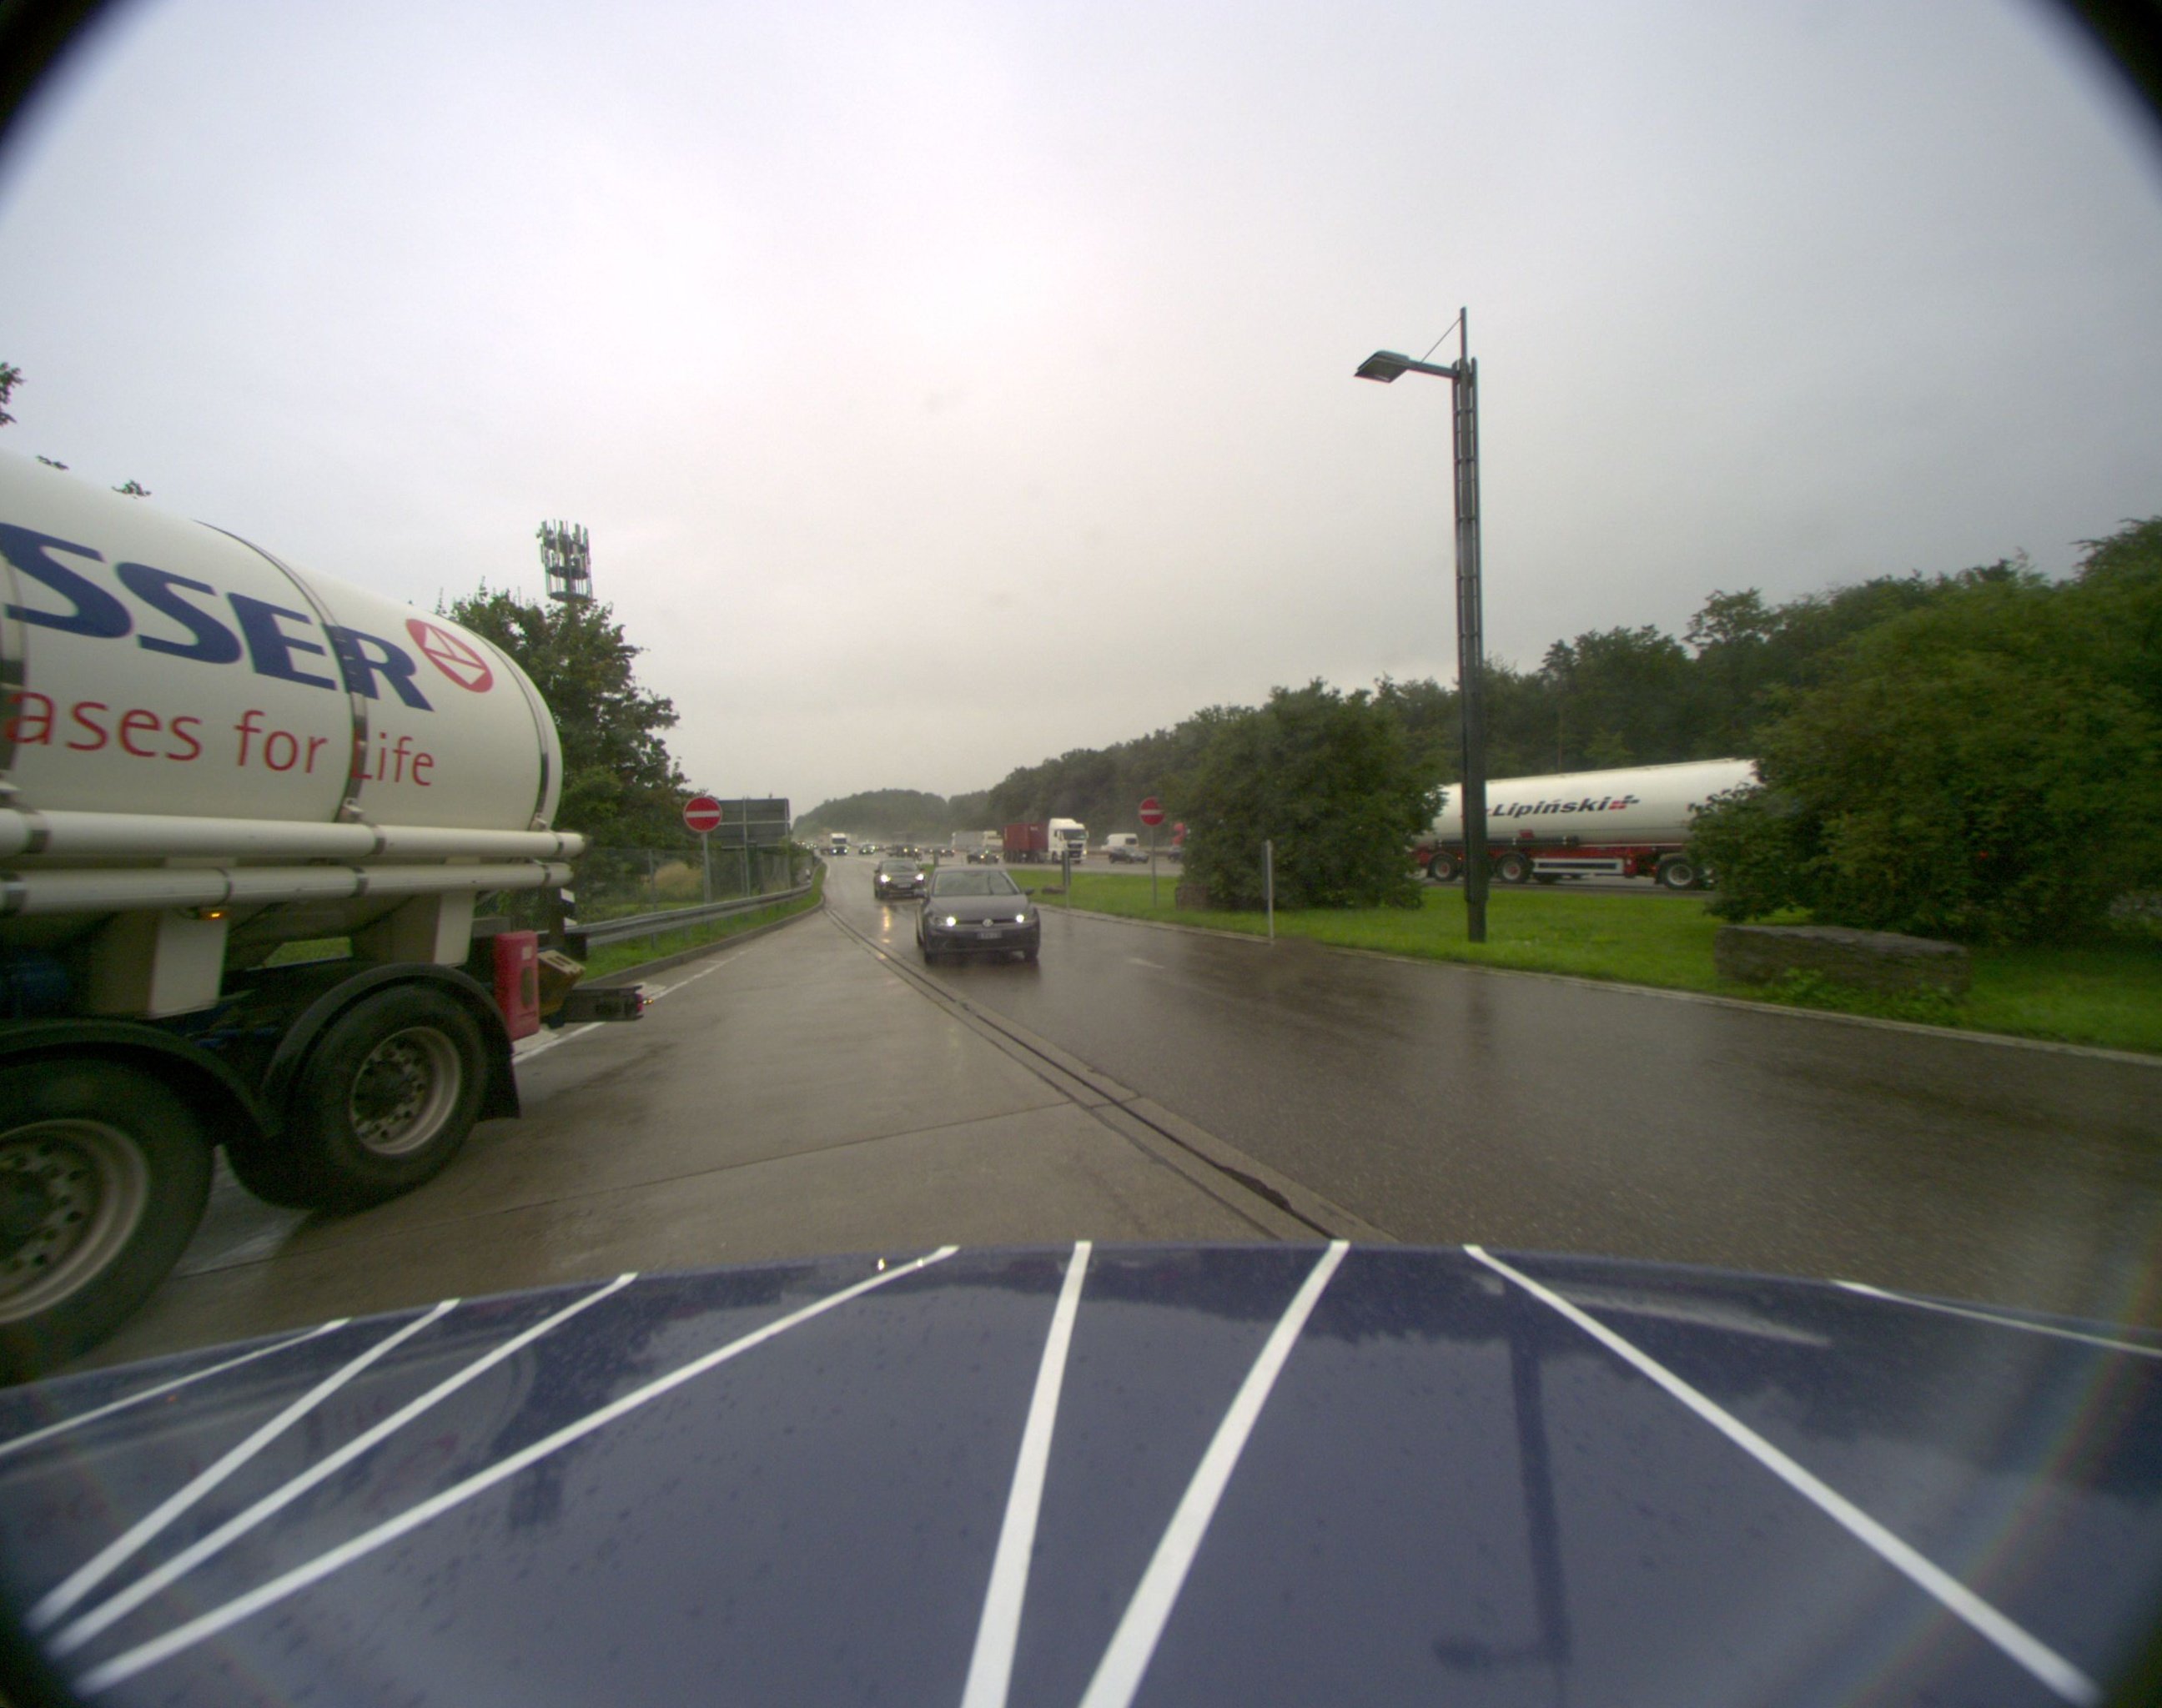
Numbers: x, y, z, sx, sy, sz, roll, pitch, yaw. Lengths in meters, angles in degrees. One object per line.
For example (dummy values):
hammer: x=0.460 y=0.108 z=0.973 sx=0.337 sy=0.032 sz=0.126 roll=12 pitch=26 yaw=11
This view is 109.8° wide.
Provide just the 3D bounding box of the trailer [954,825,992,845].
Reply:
trailer: x=-23.211 y=-3.958 z=162.178 sx=2.736 sy=3.519 sz=14.029 roll=-7 pitch=2 yaw=-29

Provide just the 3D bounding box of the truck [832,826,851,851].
truck: x=-42.630 y=-2.687 z=135.281 sx=2.600 sy=4.122 sz=5.220 roll=-6 pitch=3 yaw=-21

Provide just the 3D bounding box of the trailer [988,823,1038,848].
trailer: x=-12.063 y=-3.064 z=133.285 sx=2.626 sy=3.660 sz=14.639 roll=-6 pitch=2 yaw=-29

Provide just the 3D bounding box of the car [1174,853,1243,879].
car: x=8.139 y=0.772 z=48.824 sx=2.003 sy=1.568 sz=4.492 roll=0 pitch=0 yaw=-29

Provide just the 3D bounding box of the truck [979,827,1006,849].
truck: x=-16.438 y=-2.913 z=141.028 sx=2.634 sy=3.650 sz=5.978 roll=-6 pitch=2 yaw=-29

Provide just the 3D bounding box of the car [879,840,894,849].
car: x=-40.930 y=-2.021 z=159.912 sx=2.003 sy=1.802 sz=3.991 roll=-1 pitch=1 yaw=-28

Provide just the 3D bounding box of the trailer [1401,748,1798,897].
trailer: x=16.597 y=-0.888 z=25.866 sx=2.775 sy=4.003 sz=11.014 roll=-2 pitch=1 yaw=-31

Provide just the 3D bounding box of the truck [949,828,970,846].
truck: x=-27.041 y=-3.765 z=169.049 sx=2.726 sy=3.515 sz=4.751 roll=-7 pitch=3 yaw=-30

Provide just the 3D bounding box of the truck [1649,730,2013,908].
truck: x=19.785 y=-0.843 z=20.552 sx=2.763 sy=3.986 sz=6.492 roll=-3 pitch=2 yaw=-31

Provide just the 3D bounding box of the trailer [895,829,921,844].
trailer: x=-48.500 y=-4.871 z=212.101 sx=3.041 sy=3.790 sz=13.376 roll=-5 pitch=2 yaw=-30

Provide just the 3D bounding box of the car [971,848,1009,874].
car: x=-8.511 y=0.646 z=71.031 sx=1.920 sy=2.004 sz=3.989 roll=-9 pitch=7 yaw=-29

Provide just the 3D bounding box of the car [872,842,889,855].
car: x=-35.372 y=-1.017 z=133.843 sx=1.920 sy=2.004 sz=3.990 roll=-9 pitch=6 yaw=-24

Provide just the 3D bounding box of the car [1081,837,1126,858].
car: x=2.398 y=-0.720 z=81.543 sx=2.002 sy=2.003 sz=5.566 roll=-8 pitch=5 yaw=-30

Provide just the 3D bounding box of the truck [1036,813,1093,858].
truck: x=-1.552 y=-1.597 z=67.090 sx=2.701 sy=3.637 sz=5.312 roll=-6 pitch=4 yaw=-27

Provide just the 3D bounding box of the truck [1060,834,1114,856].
truck: x=0.659 y=-1.064 z=95.195 sx=2.112 sy=2.445 sz=9.294 roll=1 pitch=-2 yaw=-32

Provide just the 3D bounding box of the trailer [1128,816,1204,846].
trailer: x=10.752 y=-2.864 z=98.058 sx=2.199 sy=3.478 sz=13.100 roll=-6 pitch=4 yaw=-30

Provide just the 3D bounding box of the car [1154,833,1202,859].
car: x=8.025 y=-0.671 z=63.235 sx=2.003 sy=2.002 sz=3.990 roll=-3 pitch=2 yaw=-28

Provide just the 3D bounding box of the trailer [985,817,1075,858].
trailer: x=-5.368 y=-1.597 z=74.429 sx=2.695 sy=3.486 sz=15.089 roll=-6 pitch=4 yaw=-27

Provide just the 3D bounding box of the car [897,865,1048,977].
car: x=-1.987 y=0.958 z=12.750 sx=1.673 sy=1.394 sz=4.254 roll=-2 pitch=1 yaw=-19

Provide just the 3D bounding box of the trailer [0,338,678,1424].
trailer: x=-4.222 y=0.106 z=0.570 sx=1.985 sy=3.206 sz=10.320 roll=-2 pitch=1 yaw=1

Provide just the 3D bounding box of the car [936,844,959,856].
car: x=-18.830 y=-0.523 z=106.853 sx=1.791 sy=1.550 sz=4.089 roll=-2 pitch=0 yaw=-31

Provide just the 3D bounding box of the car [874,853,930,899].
car: x=-7.514 y=0.863 z=31.693 sx=1.812 sy=1.533 sz=3.993 roll=-6 pitch=3 yaw=-18

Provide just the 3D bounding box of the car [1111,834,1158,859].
car: x=4.460 y=-0.657 z=64.189 sx=2.003 sy=2.002 sz=4.102 roll=-3 pitch=2 yaw=-28
